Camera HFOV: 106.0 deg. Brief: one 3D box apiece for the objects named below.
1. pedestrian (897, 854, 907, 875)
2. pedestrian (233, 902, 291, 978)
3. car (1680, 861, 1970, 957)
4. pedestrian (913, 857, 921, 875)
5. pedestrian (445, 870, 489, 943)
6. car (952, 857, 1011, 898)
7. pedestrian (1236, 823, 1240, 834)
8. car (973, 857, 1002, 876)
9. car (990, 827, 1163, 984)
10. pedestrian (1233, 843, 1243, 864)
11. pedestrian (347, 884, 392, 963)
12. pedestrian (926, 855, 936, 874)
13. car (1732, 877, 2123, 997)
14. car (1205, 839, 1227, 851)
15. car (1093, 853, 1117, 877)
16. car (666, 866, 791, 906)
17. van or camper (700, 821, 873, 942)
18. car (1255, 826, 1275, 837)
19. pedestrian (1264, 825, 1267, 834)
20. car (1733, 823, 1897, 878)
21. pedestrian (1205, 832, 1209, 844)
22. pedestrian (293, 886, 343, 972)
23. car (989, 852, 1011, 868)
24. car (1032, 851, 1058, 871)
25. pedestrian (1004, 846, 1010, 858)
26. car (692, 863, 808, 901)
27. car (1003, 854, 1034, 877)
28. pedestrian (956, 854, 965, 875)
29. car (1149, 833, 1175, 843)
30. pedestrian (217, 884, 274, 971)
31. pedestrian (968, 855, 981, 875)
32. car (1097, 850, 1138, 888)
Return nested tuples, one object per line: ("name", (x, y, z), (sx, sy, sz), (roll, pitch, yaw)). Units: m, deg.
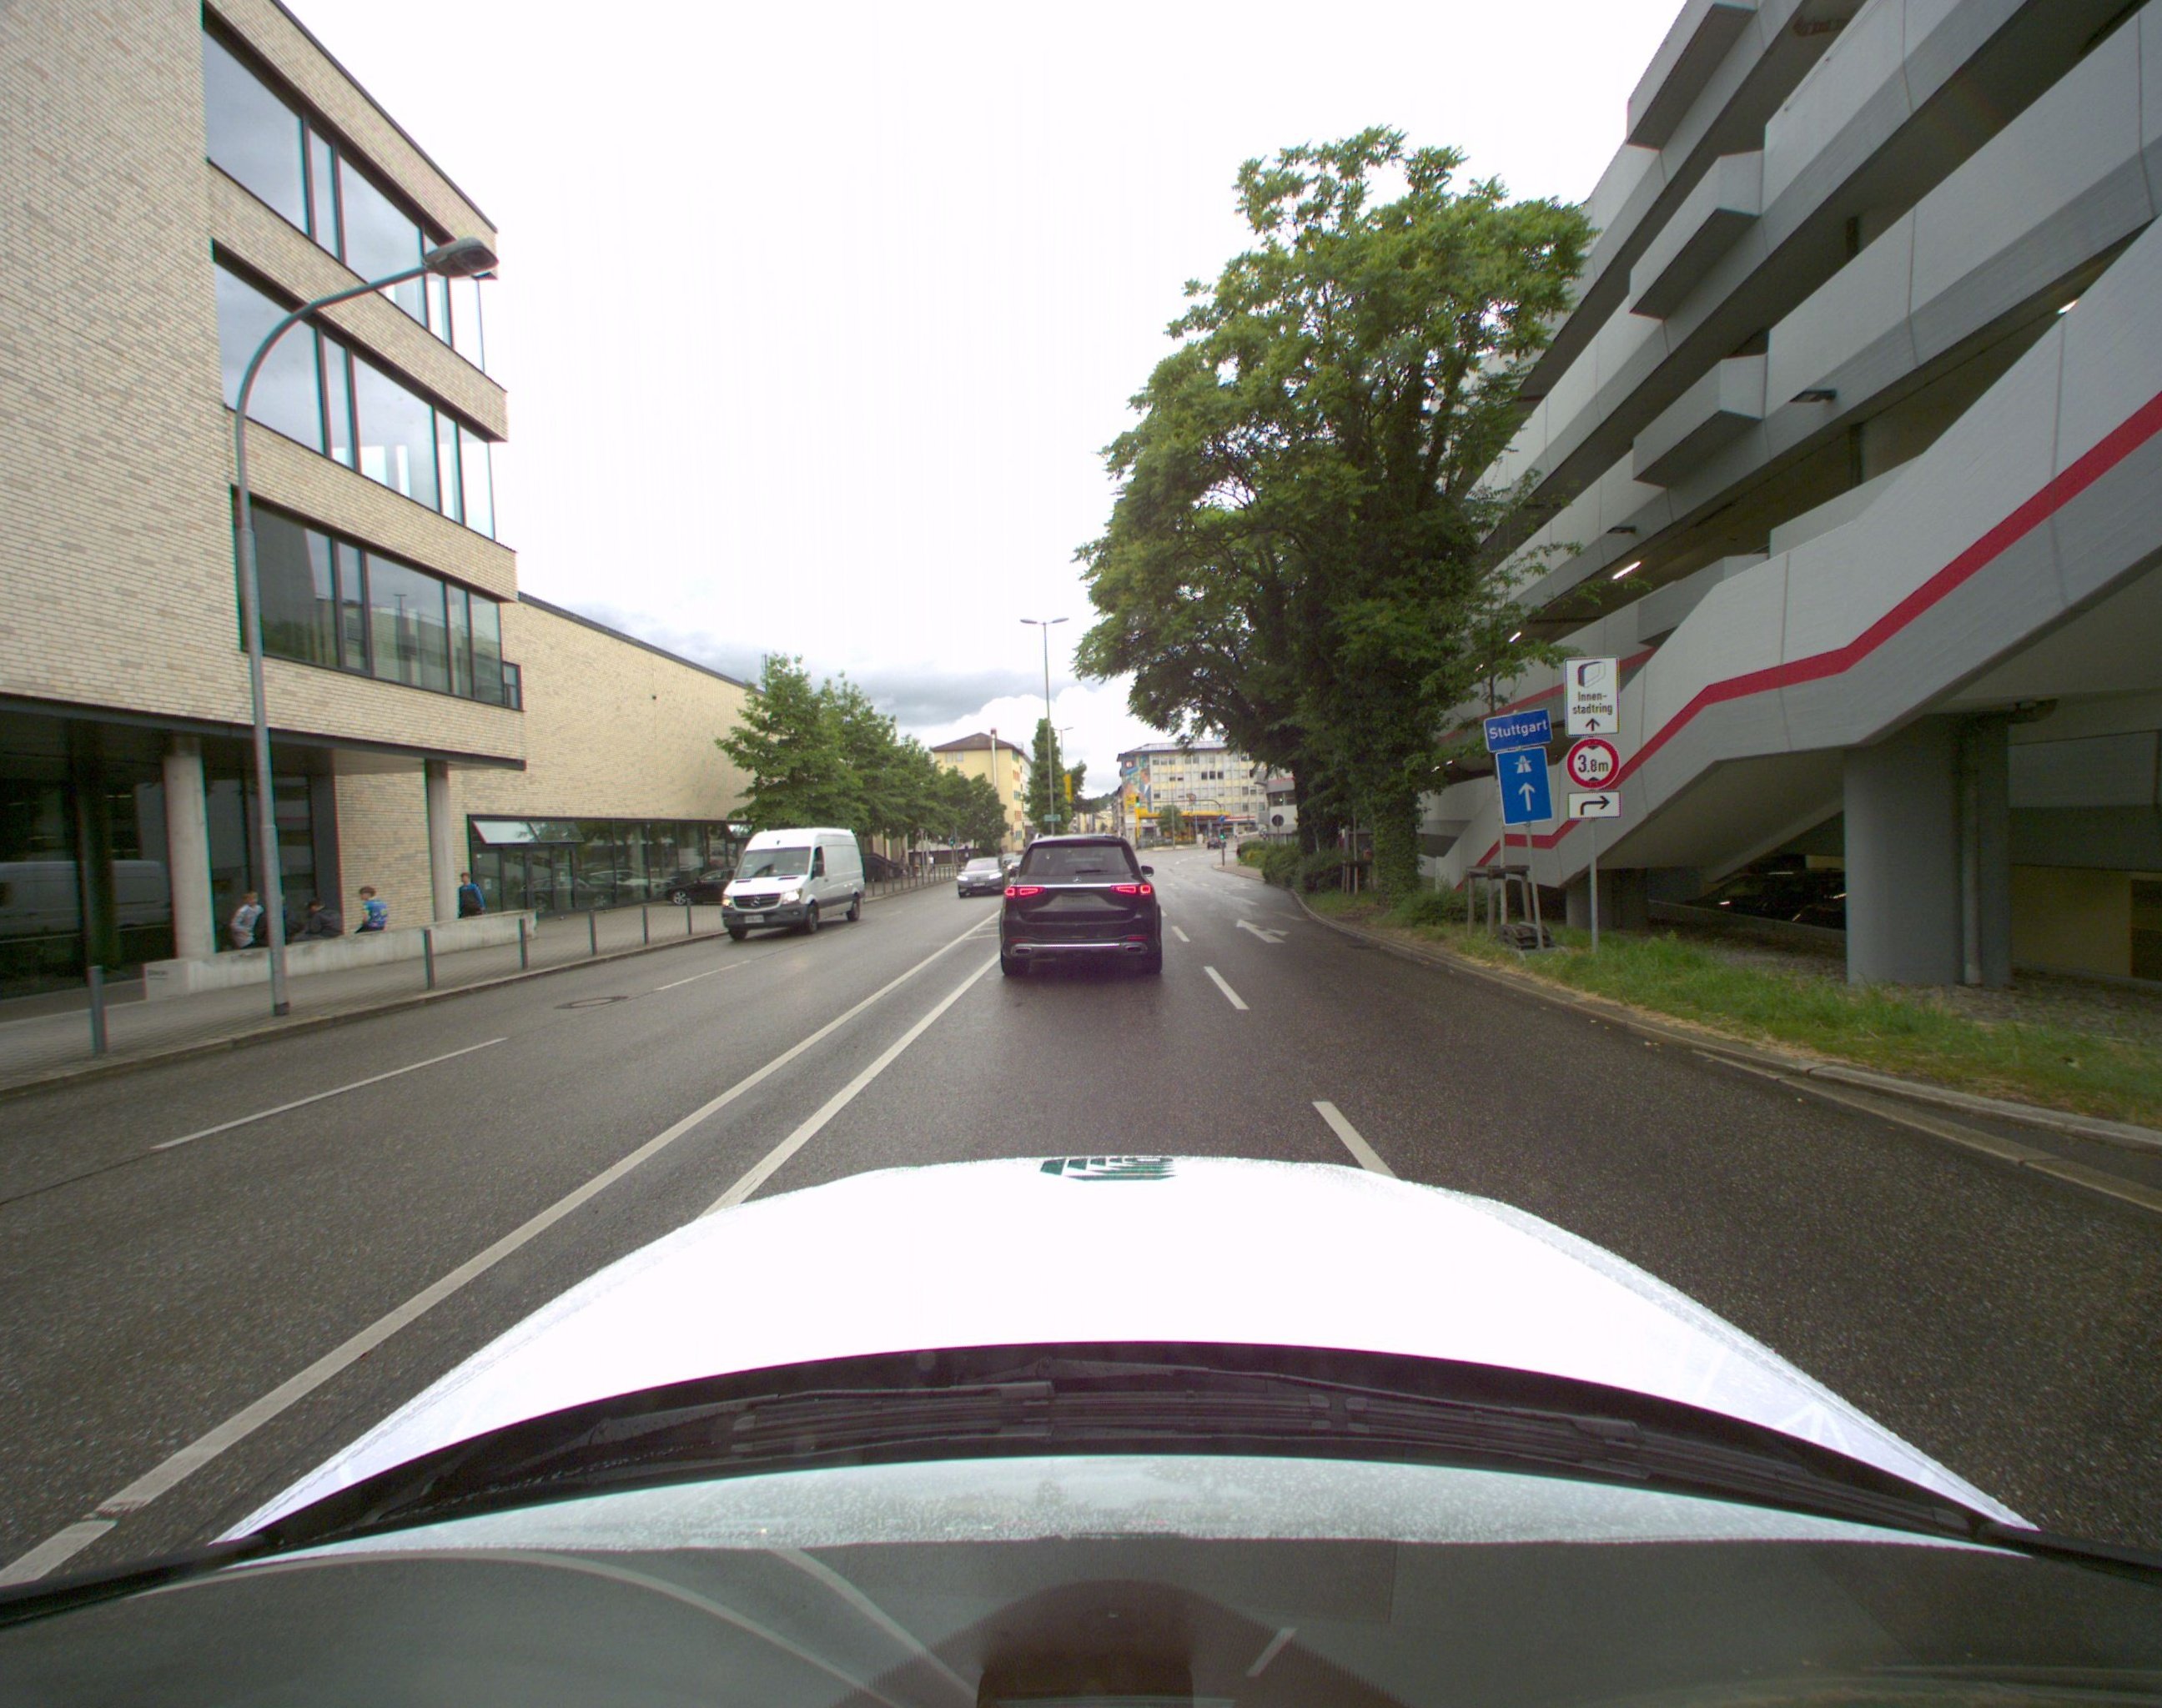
("pedestrian", (-13.965, 0.819, 63.494), (0.641, 1.665, 1.017), (0, -1, -4))
("pedestrian", (-13.572, 1.415, 13.503), (0.546, 1.215, 0.422), (0, -1, 4))
("car", (13.905, 1.004, 15.448), (3.713, 1.540, 1.815), (-1, 3, 7))
("pedestrian", (-14.723, 1.096, 72.975), (0.435, 1.534, 0.548), (-3, 1, 16))
("pedestrian", (-14.780, 1.244, 19.627), (0.636, 1.714, 0.701), (0, -1, -17))
("car", (-4.113, 0.924, 34.421), (1.877, 1.498, 4.560), (-4, 0, -1))
("pedestrian", (26.273, -4.294, 136.373), (0.521, 1.727, 0.693), (-2, 1, 28))
("car", (-7.591, 0.990, 66.356), (1.823, 1.388, 4.229), (-4, 0, 0))
("car", (0.013, 0.610, 11.426), (1.986, 1.800, 4.001), (0, -1, 2))
("pedestrian", (12.580, -0.024, 65.173), (0.639, 1.710, 0.474), (-2, -1, 38))
("pedestrian", (-13.638, 1.326, 15.616), (0.448, 1.475, 0.463), (0, -1, -4))
("pedestrian", (-13.469, 0.904, 73.156), (0.688, 1.656, 0.612), (-3, 1, -6))
("car", (12.942, 1.237, 12.711), (3.966, 1.624, 1.842), (-1, 0, 6))
("car", (17.446, -1.123, 104.863), (1.780, 1.525, 4.079), (0, 1, 25))
("car", (2.035, 0.942, 69.716), (1.986, 2.014, 4.001), (0, -1, 1))
("car", (-14.065, 1.267, 32.696), (4.169, 1.495, 1.997), (0, -1, -5))
("van or camper", (-7.371, 0.613, 21.238), (2.094, 2.582, 5.909), (-4, 0, 1))
("car", (31.203, -3.780, 137.988), (1.974, 1.705, 4.026), (-2, 1, 35))
("pedestrian", (32.995, -4.368, 145.815), (0.478, 1.640, 0.441), (-1, -1, 30))
("car", (26.213, -0.117, 29.230), (3.958, 1.783, 1.823), (-2, 0, 14))
("pedestrian", (18.610, -2.387, 120.082), (0.570, 1.697, 0.631), (0, -1, 3))
("pedestrian", (-13.528, 1.313, 14.448), (0.448, 1.475, 0.463), (0, -1, -4))
("car", (-8.125, 0.577, 82.194), (1.740, 1.412, 3.970), (-4, 0, 0))
("car", (-3.576, 0.710, 81.747), (1.882, 1.811, 4.581), (-4, 0, 5))
("pedestrian", (-10.340, -0.263, 114.080), (0.647, 1.727, 0.628), (-3, 1, -2))
("car", (-14.163, 1.198, 35.004), (4.158, 1.547, 2.002), (0, -1, 3))
("car", (-4.468, 0.807, 58.539), (1.806, 1.462, 4.286), (-4, 0, -1))
("pedestrian", (-10.086, 0.878, 68.078), (0.687, 1.757, 0.716), (-2, 1, -9))
("car", (12.767, -2.479, 128.480), (1.747, 1.376, 3.952), (-4, 1, -42))
("pedestrian", (-14.603, 1.273, 14.235), (0.440, 1.475, 0.528), (0, -1, -3))
("pedestrian", (-9.054, 0.904, 69.219), (0.948, 1.704, 0.709), (0, -1, -16))
("car", (1.825, 0.738, 41.331), (1.986, 1.800, 4.001), (0, -1, 2))
